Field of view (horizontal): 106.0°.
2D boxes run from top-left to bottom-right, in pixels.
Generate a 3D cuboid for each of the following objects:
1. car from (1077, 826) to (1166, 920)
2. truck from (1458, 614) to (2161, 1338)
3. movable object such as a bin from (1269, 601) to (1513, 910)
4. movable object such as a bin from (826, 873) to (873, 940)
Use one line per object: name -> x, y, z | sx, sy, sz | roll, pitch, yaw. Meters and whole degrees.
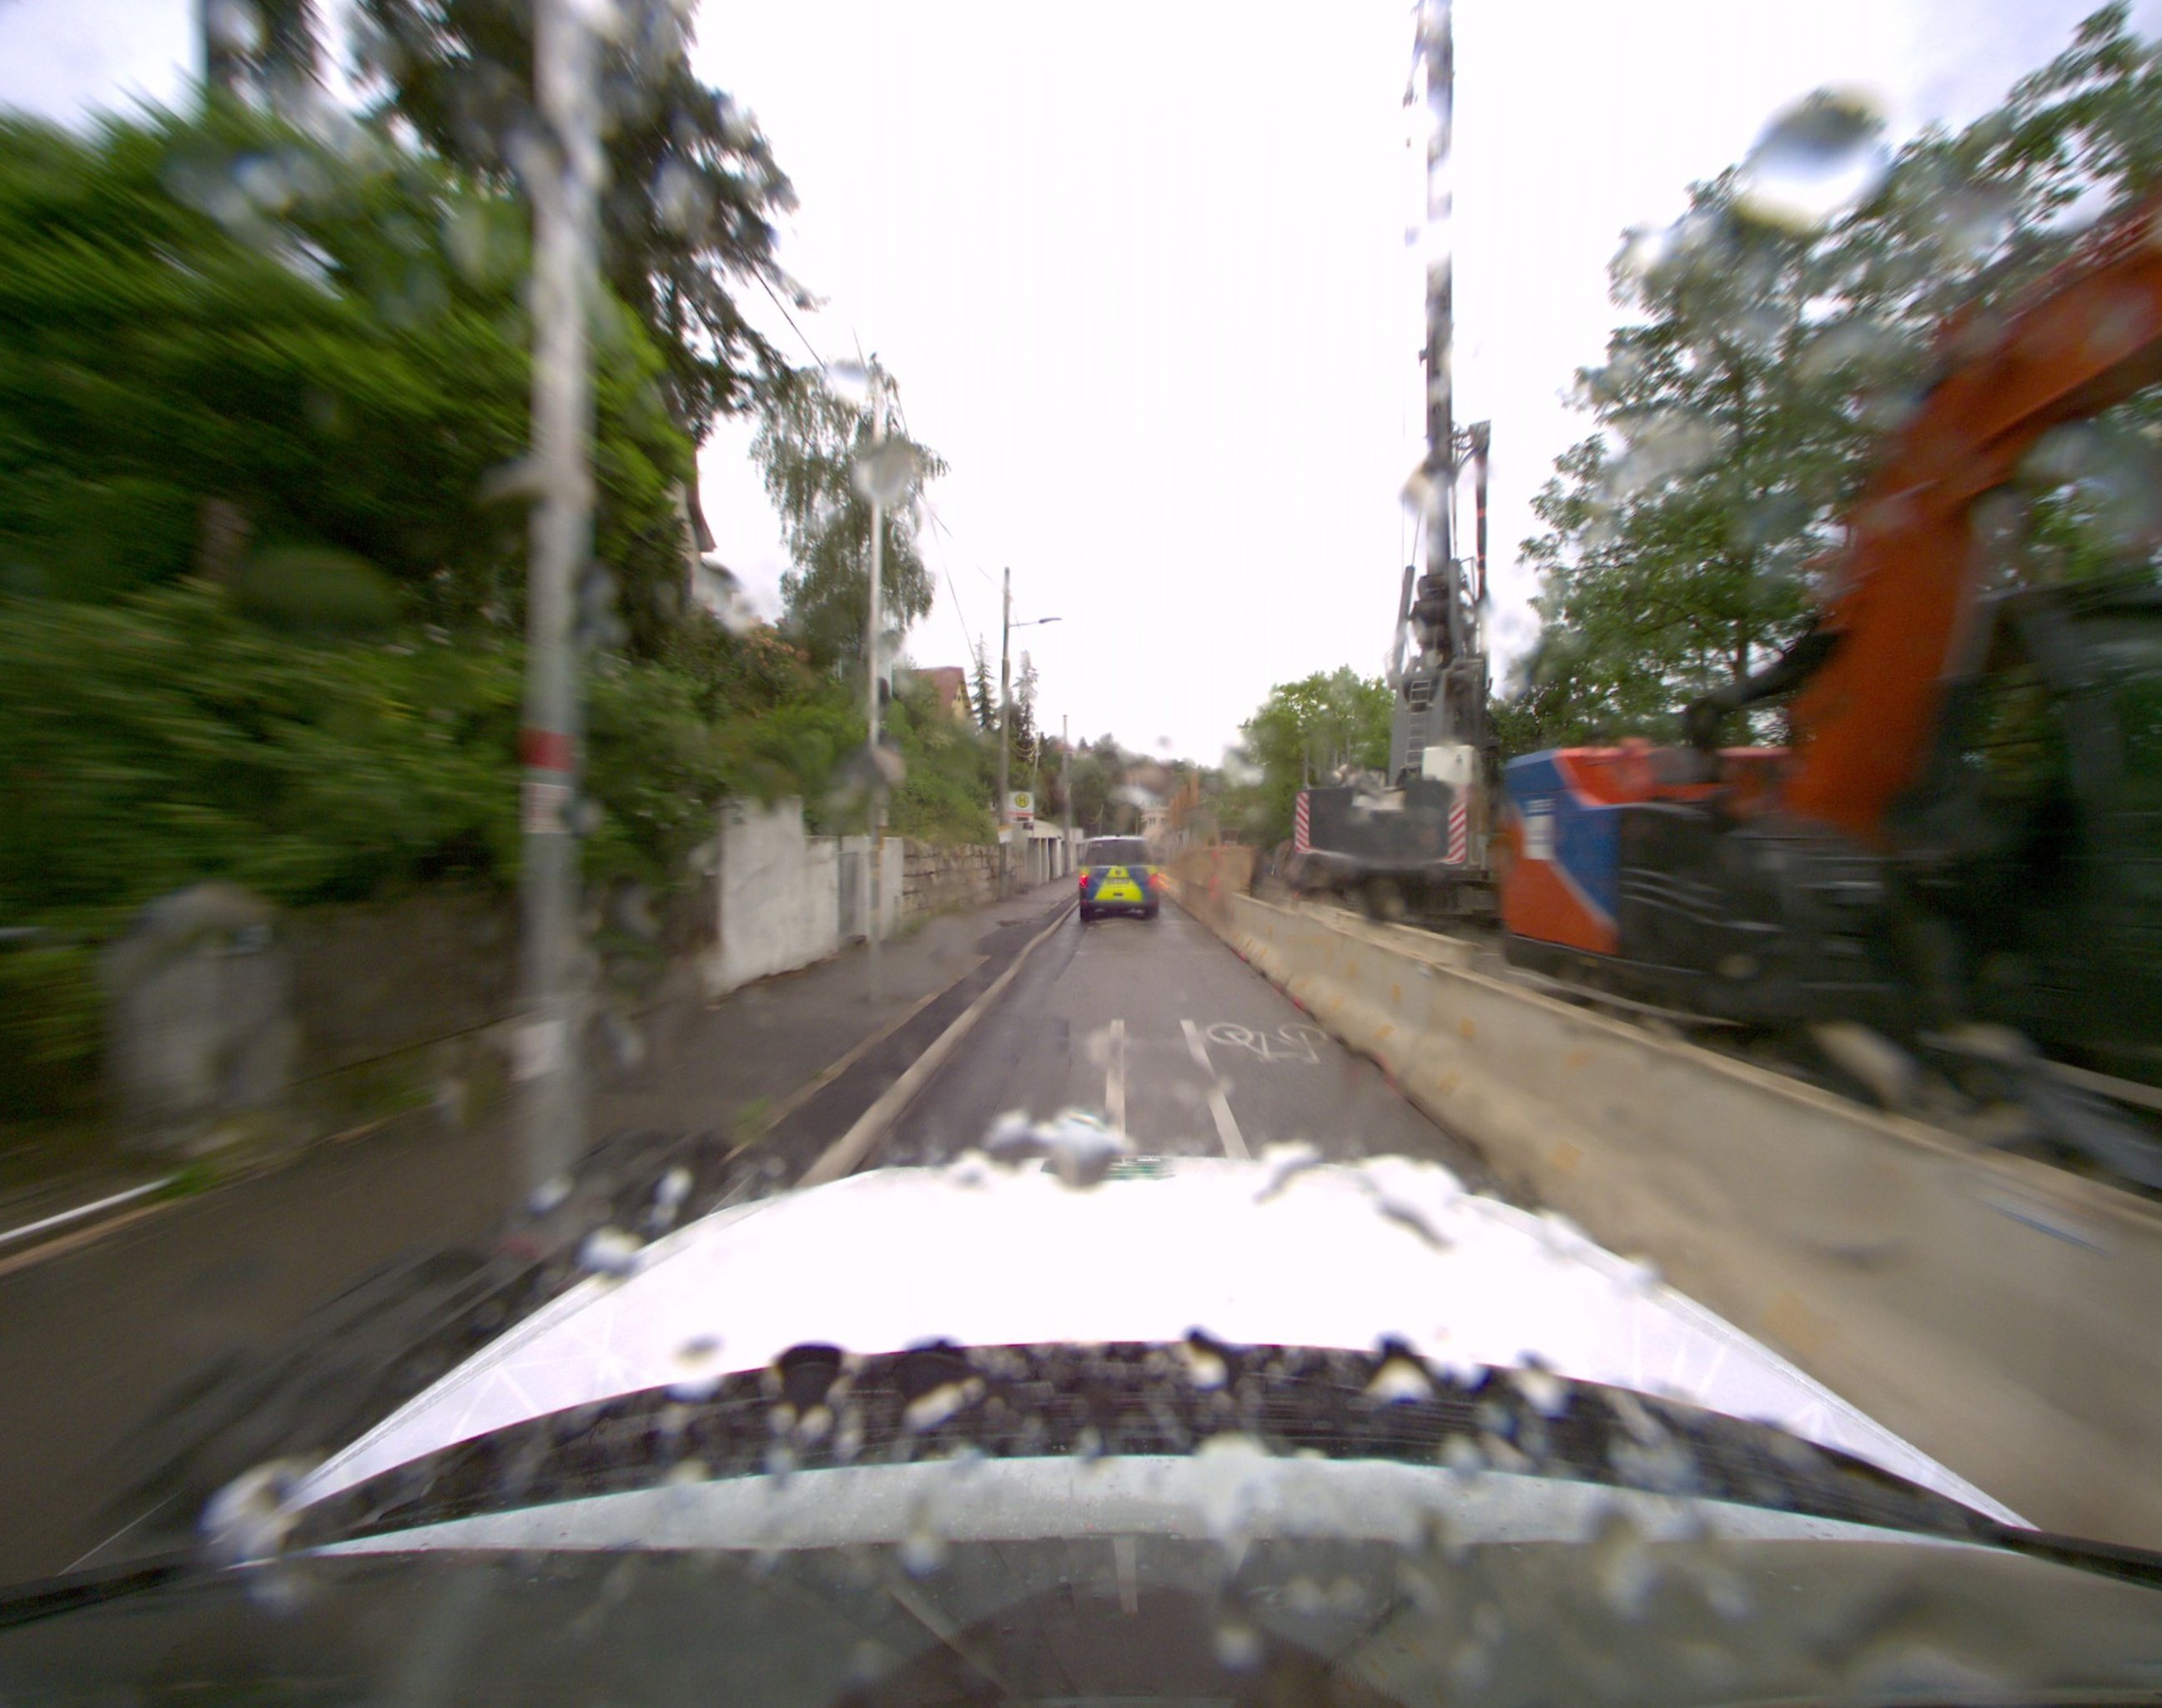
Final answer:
car -> 0.981, 0.454, 20.262 | 1.900, 2.010, 4.441 | 2, -1, 2
truck -> 3.845, 0.373, 4.011 | 2.541, 2.108, 3.306 | 0, -1, 2
movable object such as a bin -> 6.927, -1.558, 17.350 | 3.647, 5.066, 7.207 | -1, -1, 31
movable object such as a bin -> -3.490, 0.779, 12.289 | 0.505, 0.965, 0.498 | 2, -1, 2
